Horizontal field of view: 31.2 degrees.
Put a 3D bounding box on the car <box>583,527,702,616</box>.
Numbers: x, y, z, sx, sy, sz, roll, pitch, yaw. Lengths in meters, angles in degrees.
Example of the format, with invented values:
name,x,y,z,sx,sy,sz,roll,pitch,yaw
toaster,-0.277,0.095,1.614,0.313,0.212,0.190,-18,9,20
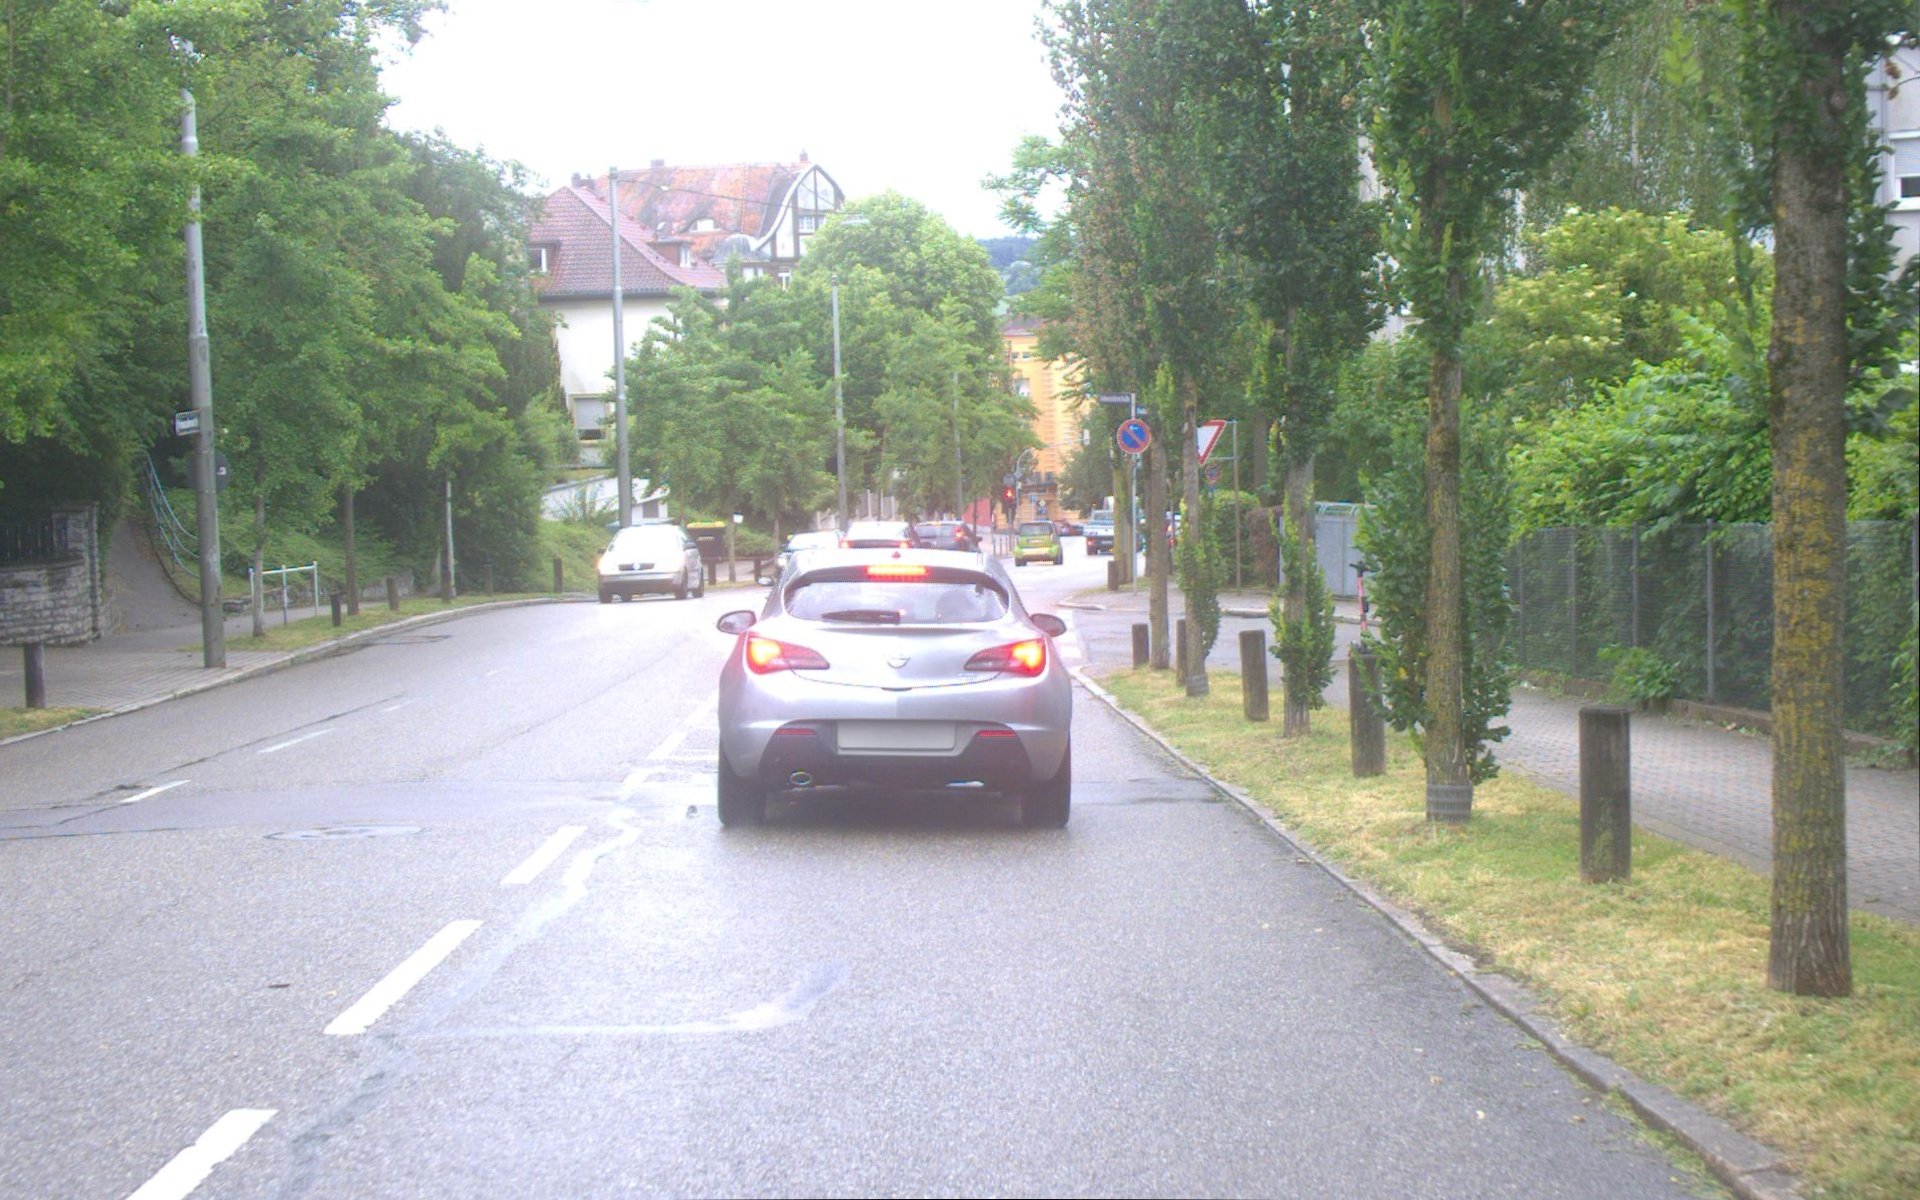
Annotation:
name,x,y,z,sx,sy,sz,roll,pitch,yaw
car,-6.015,-0.567,65.474,1.765,1.481,3.801,-3,2,1

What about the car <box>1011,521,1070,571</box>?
name,x,y,z,sx,sy,sz,roll,pitch,yaw
car,2.806,-1.870,118.961,1.754,1.645,4.000,2,1,5

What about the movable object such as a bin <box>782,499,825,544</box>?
name,x,y,z,sx,sy,sz,roll,pitch,yaw
movable object such as a bin,-4.842,-2.430,106.564,1.272,1.382,0.489,0,2,5

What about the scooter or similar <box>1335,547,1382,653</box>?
name,x,y,z,sx,sy,sz,roll,pitch,yaw
scooter or similar,4.828,-0.009,41.713,0.342,1.250,1.268,1,1,-2

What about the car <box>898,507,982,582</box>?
name,x,y,z,sx,sy,sz,roll,pitch,yaw
car,-0.477,-1.440,87.697,1.769,1.775,3.976,2,2,5

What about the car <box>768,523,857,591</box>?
name,x,y,z,sx,sy,sz,roll,pitch,yaw
car,-3.894,-1.166,91.602,1.911,1.579,4.587,-5,1,2

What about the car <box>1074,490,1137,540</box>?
name,x,y,z,sx,sy,sz,roll,pitch,yaw
car,6.381,-3.729,150.212,2.334,2.029,4.734,2,2,7

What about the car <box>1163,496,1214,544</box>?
name,x,y,z,sx,sy,sz,roll,pitch,yaw
car,10.253,-3.608,154.034,1.994,2.029,4.734,2,2,7

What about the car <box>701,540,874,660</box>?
name,x,y,z,sx,sy,sz,roll,pitch,yaw
car,-2.024,-0.032,41.372,1.798,1.318,4.000,0,2,1

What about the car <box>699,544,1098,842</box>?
name,x,y,z,sx,sy,sz,roll,pitch,yaw
car,-0.332,0.429,18.931,1.945,1.427,3.884,1,1,-1

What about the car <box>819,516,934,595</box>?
name,x,y,z,sx,sy,sz,roll,pitch,yaw
car,-1.706,-0.945,71.468,1.961,1.467,3.951,2,2,5

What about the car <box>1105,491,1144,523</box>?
name,x,y,z,sx,sy,sz,roll,pitch,yaw
car,9.765,-5.521,204.068,1.994,1.778,3.999,2,2,7

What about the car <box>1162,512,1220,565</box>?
name,x,y,z,sx,sy,sz,roll,pitch,yaw
car,6.635,-1.753,98.521,1.504,1.430,3.999,-2,1,5

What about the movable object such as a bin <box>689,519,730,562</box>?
name,x,y,z,sx,sy,sz,roll,pitch,yaw
movable object such as a bin,-8.233,-1.949,112.864,1.272,1.382,0.489,0,2,5
